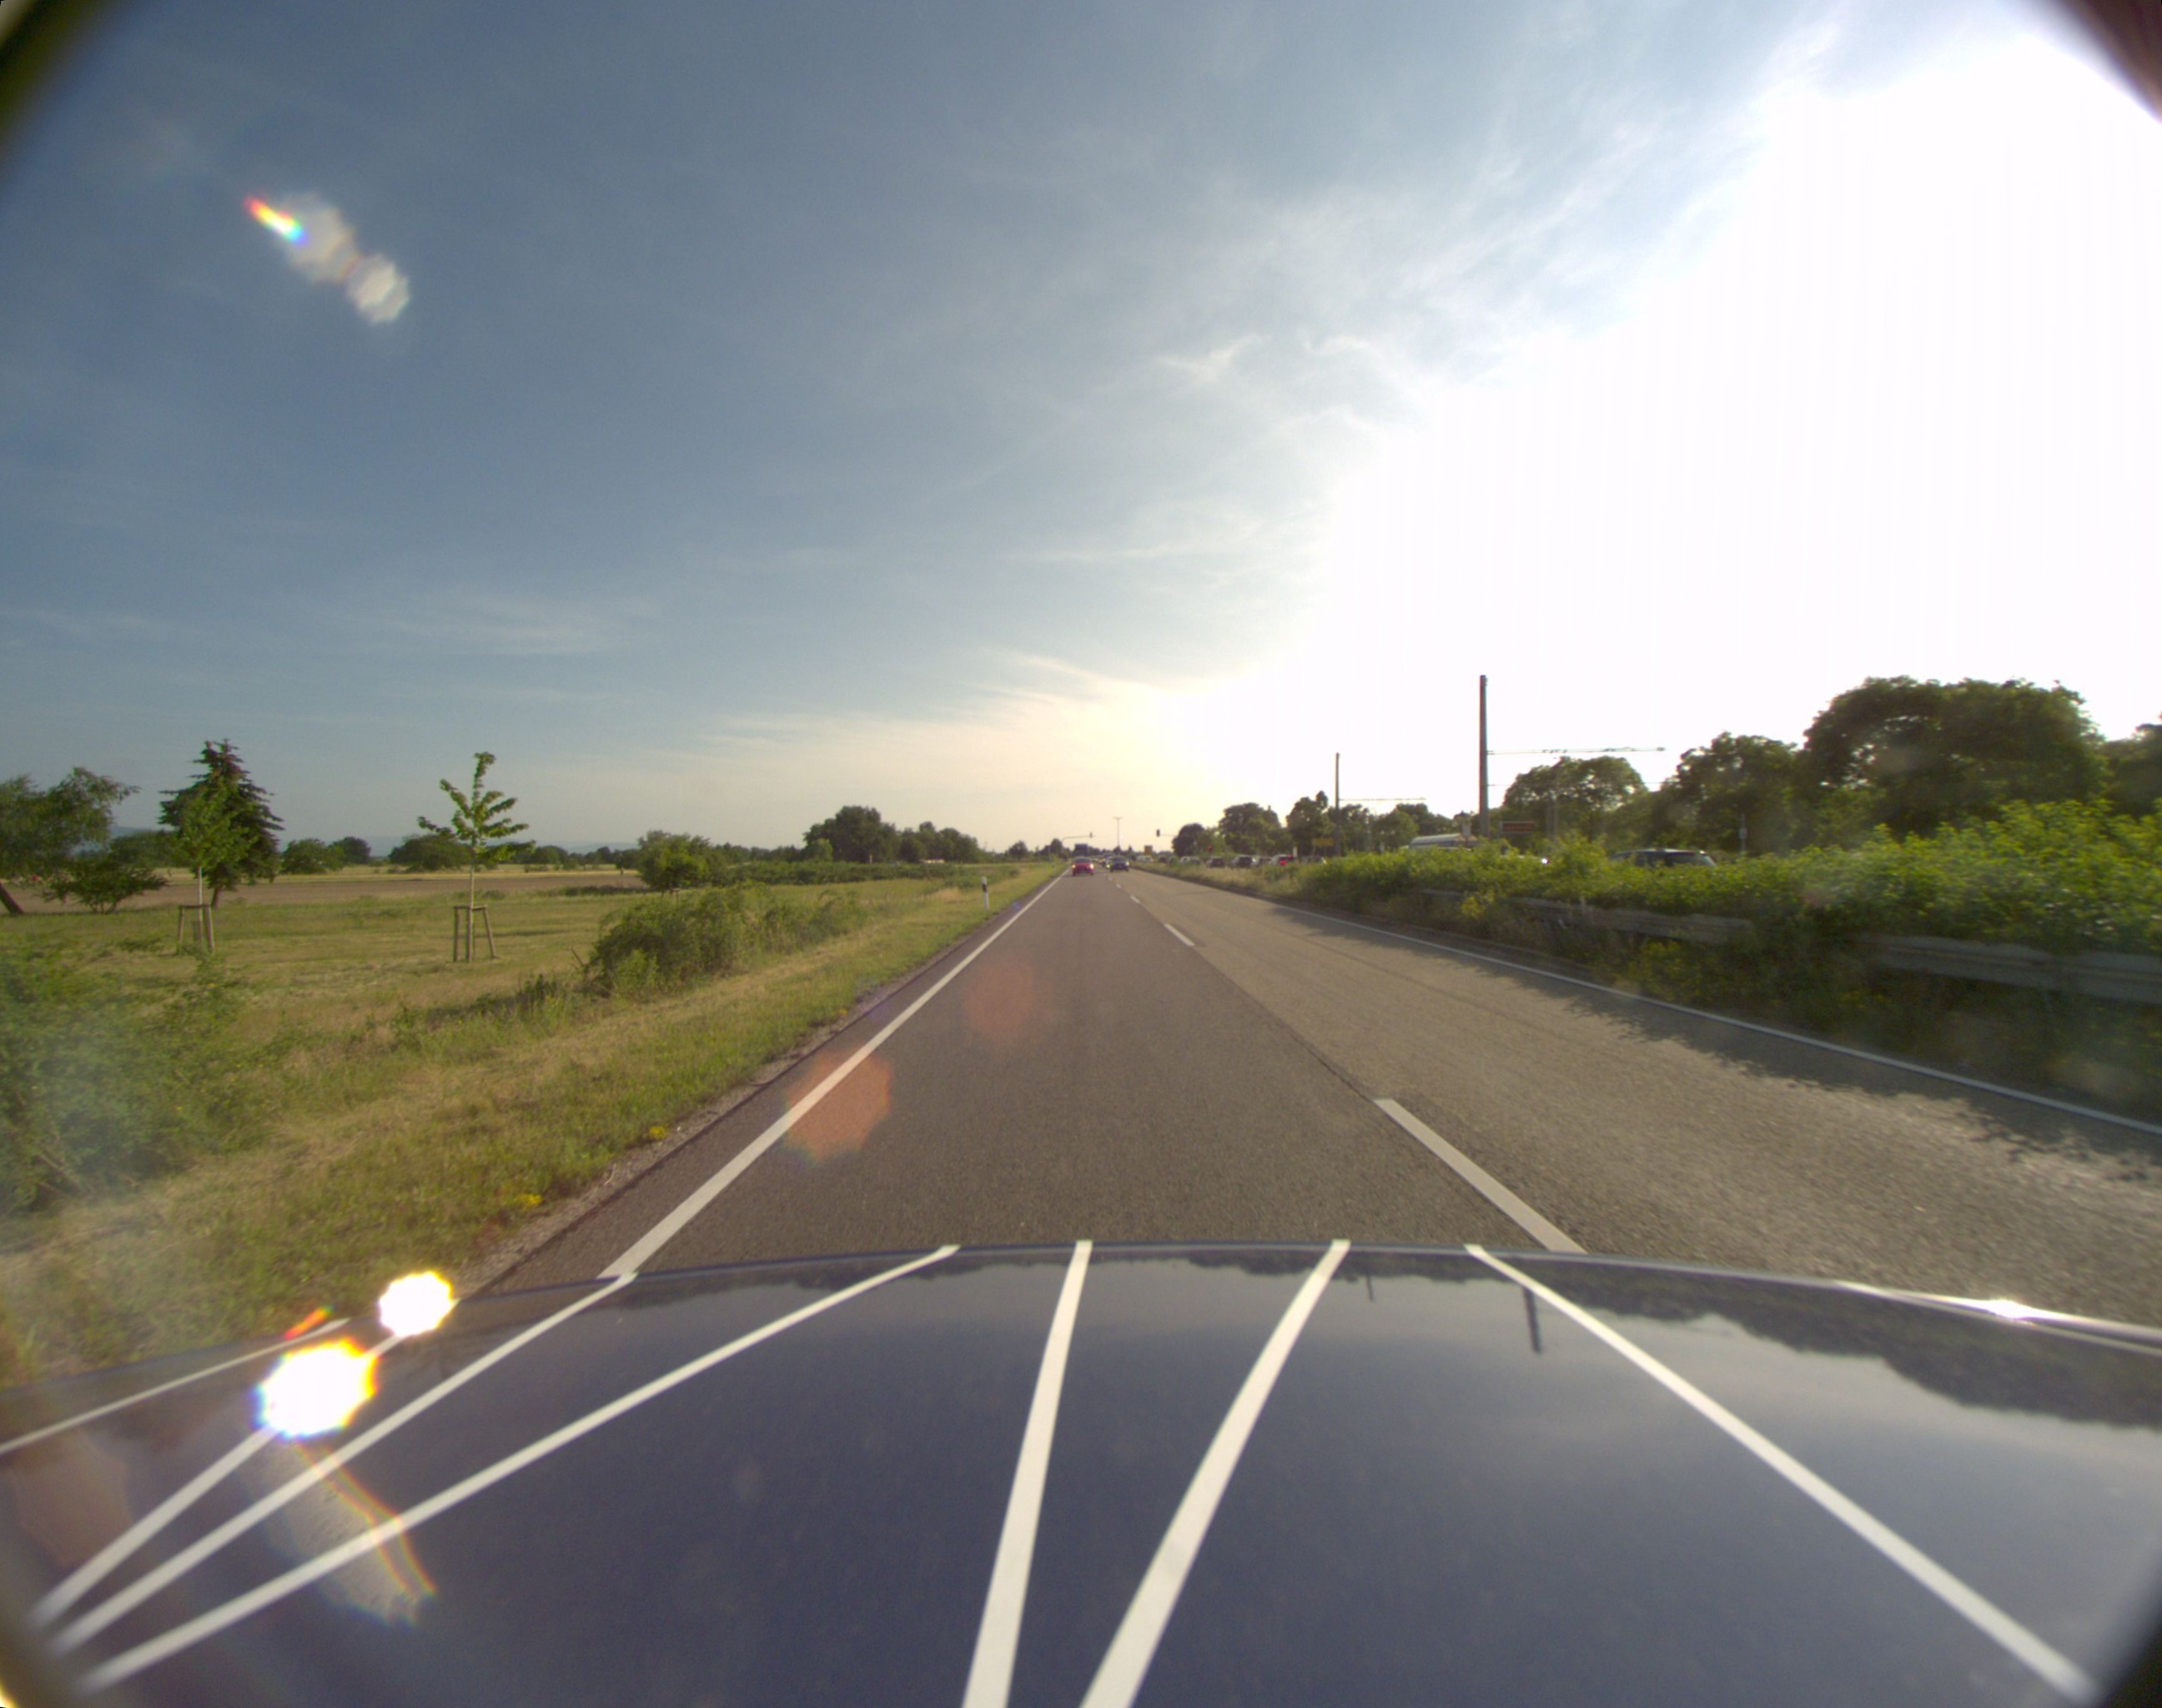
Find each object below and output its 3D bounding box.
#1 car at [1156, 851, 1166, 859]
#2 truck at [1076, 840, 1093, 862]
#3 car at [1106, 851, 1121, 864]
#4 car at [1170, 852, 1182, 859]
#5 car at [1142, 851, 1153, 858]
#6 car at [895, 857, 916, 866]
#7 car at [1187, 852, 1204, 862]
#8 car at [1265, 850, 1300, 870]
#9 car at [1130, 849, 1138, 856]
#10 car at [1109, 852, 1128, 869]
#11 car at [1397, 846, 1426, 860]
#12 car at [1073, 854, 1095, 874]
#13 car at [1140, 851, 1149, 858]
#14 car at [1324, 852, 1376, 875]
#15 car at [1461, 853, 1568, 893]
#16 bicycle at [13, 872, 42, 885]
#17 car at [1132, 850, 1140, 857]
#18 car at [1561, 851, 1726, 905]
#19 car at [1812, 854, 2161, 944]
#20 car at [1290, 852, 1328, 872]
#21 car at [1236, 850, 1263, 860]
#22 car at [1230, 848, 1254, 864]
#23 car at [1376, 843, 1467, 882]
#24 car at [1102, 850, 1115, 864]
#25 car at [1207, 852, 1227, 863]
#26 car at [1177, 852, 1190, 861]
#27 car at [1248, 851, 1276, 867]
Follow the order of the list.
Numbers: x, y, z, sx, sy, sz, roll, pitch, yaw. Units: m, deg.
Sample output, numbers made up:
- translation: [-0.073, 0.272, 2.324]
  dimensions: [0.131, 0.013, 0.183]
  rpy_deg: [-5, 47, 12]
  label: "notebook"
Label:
- translation: [17.151, 0.178, 163.237]
  dimensions: [1.801, 1.580, 4.000]
  rpy_deg: [1, 0, 0]
  label: "car"
- translation: [0.702, -0.582, 144.252]
  dimensions: [2.850, 3.896, 10.103]
  rpy_deg: [-2, 0, 1]
  label: "truck"
- translation: [3.847, 0.349, 89.762]
  dimensions: [1.636, 1.442, 4.000]
  rpy_deg: [-2, 0, 1]
  label: "car"
- translation: [17.971, 0.297, 143.553]
  dimensions: [1.664, 1.373, 4.000]
  rpy_deg: [1, 0, 0]
  label: "car"
- translation: [13.586, 0.119, 155.044]
  dimensions: [1.823, 1.461, 4.294]
  rpy_deg: [1, 0, 1]
  label: "car"
- translation: [-35.846, 1.582, 155.001]
  dimensions: [4.002, 1.641, 1.997]
  rpy_deg: [-2, 0, -15]
  label: "car"
- translation: [16.987, 0.386, 112.836]
  dimensions: [1.664, 1.407, 4.975]
  rpy_deg: [1, 0, 0]
  label: "car"
- translation: [16.450, 0.498, 62.309]
  dimensions: [1.664, 1.553, 4.545]
  rpy_deg: [1, 0, 0]
  label: "car"
- translation: [13.796, -0.297, 197.166]
  dimensions: [1.862, 1.735, 4.529]
  rpy_deg: [1, 0, 1]
  label: "car"
- translation: [3.535, 0.608, 71.890]
  dimensions: [1.636, 1.500, 4.000]
  rpy_deg: [-2, 0, 1]
  label: "car"
- translation: [48.930, -0.192, 112.531]
  dimensions: [3.678, 1.866, 1.831]
  rpy_deg: [-2, 0, -18]
  label: "car"
- translation: [0.268, 0.808, 62.371]
  dimensions: [1.735, 1.467, 4.000]
  rpy_deg: [-2, 0, 1]
  label: "car"
- translation: [13.860, 0.024, 165.779]
  dimensions: [1.756, 1.499, 4.583]
  rpy_deg: [1, 0, 1]
  label: "car"
- translation: [17.488, 0.581, 49.589]
  dimensions: [1.664, 1.423, 4.717]
  rpy_deg: [1, 0, 0]
  label: "car"
- translation: [16.881, 0.684, 29.851]
  dimensions: [1.664, 1.423, 4.448]
  rpy_deg: [1, 0, 0]
  label: "car"
- translation: [-127.530, 2.970, 91.984]
  dimensions: [0.502, 1.522, 1.981]
  rpy_deg: [-2, 1, 43]
  label: "bicycle"
- translation: [16.531, -0.238, 229.936]
  dimensions: [1.998, 1.961, 5.078]
  rpy_deg: [2, 0, 1]
  label: "car"
- translation: [16.412, 0.630, 22.479]
  dimensions: [1.664, 1.423, 4.326]
  rpy_deg: [1, 0, 0]
  label: "car"
- translation: [16.861, 0.734, 14.491]
  dimensions: [1.664, 1.423, 4.326]
  rpy_deg: [1, 0, 0]
  label: "car"
- translation: [16.808, 0.568, 56.179]
  dimensions: [1.664, 1.423, 3.805]
  rpy_deg: [1, 0, 0]
  label: "car"
- translation: [34.452, 0.243, 155.611]
  dimensions: [4.844, 1.876, 2.253]
  rpy_deg: [-2, 0, -5]
  label: "car"
- translation: [16.977, 0.197, 80.246]
  dimensions: [1.664, 1.677, 4.229]
  rpy_deg: [1, 0, 0]
  label: "car"
- translation: [15.919, 0.384, 35.886]
  dimensions: [1.920, 1.673, 5.253]
  rpy_deg: [1, 0, 0]
  label: "car"
- translation: [3.880, 0.398, 106.316]
  dimensions: [1.636, 1.833, 4.000]
  rpy_deg: [-2, 0, 1]
  label: "car"
- translation: [16.810, 0.430, 94.351]
  dimensions: [1.664, 1.373, 4.541]
  rpy_deg: [1, 0, 0]
  label: "car"
- translation: [16.988, 0.357, 126.216]
  dimensions: [1.664, 1.373, 4.468]
  rpy_deg: [1, 0, 0]
  label: "car"
- translation: [16.867, 0.493, 71.039]
  dimensions: [1.664, 1.423, 3.805]
  rpy_deg: [1, 0, 0]
  label: "car"
